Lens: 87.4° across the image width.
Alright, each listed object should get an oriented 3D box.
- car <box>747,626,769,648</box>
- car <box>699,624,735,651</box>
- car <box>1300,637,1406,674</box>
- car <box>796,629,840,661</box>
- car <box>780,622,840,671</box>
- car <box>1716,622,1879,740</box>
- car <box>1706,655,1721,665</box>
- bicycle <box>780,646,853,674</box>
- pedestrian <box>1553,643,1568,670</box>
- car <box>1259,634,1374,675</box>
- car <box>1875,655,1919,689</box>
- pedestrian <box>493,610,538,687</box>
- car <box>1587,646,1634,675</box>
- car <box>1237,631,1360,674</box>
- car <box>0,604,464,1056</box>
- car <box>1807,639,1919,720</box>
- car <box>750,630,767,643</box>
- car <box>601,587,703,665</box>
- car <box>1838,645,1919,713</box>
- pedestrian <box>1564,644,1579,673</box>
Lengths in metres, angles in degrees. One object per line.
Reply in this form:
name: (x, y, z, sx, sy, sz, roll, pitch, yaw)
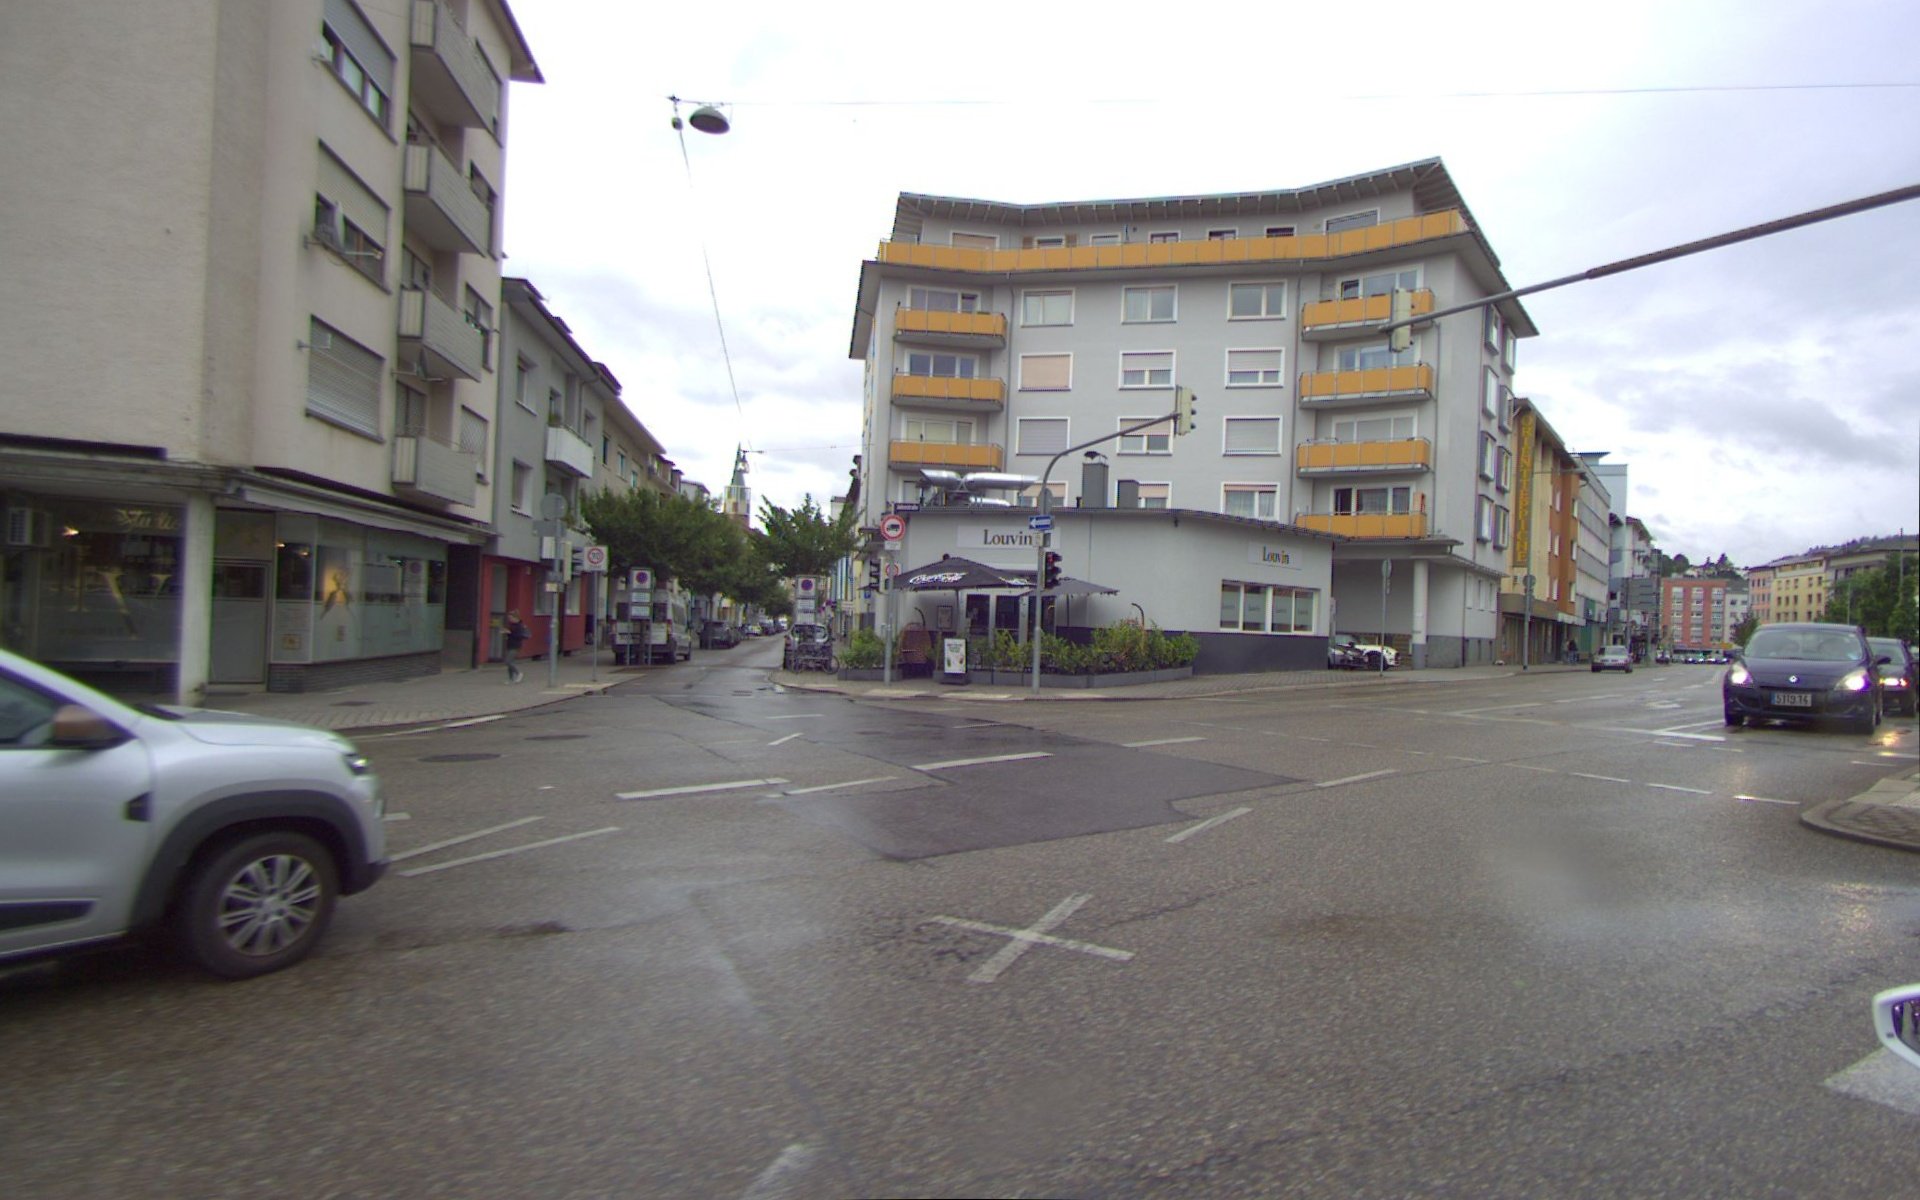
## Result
car: (-19.837, 3.602, 98.601, 1.965, 1.884, 3.992, 4, 0, -11)
car: (-14.132, 2.176, 58.673, 1.869, 1.457, 3.991, 1, -1, -12)
car: (15.223, 2.158, 39.013, 3.576, 1.355, 1.490, -2, -4, 36)
car: (-6.901, 2.152, 49.071, 1.866, 1.457, 3.997, 1, -1, -5)
car: (-5.376, 1.648, 36.371, 1.866, 1.630, 3.997, 1, -1, -5)
car: (13.521, 1.208, 16.132, 1.737, 1.636, 4.186, -1, -2, 44)
car: (113.893, 9.081, 151.822, 1.687, 1.487, 4.810, -2, -4, 38)
bicycle: (-4.444, 1.851, 31.030, 2.173, 0.819, 0.618, 2, -1, -13)
pedestrian: (39.063, 3.689, 65.359, 0.622, 1.697, 0.905, 6, 1, 37)
car: (13.272, 2.032, 37.440, 3.711, 1.439, 1.631, -2, -4, 39)
car: (42.433, 3.195, 44.762, 1.765, 1.421, 4.620, 1, -2, 34)
pedestrian: (-9.905, 1.079, 22.393, 0.518, 1.672, 0.602, 4, -1, 28)
car: (35.057, 3.284, 54.063, 1.707, 1.384, 4.094, 1, -3, 39)
car: (11.907, 1.872, 35.444, 3.766, 1.439, 1.790, -2, -5, 39)
car: (-3.936, 0.754, 3.551, 1.516, 1.481, 3.618, 1, -1, 35)
car: (17.899, 1.494, 19.820, 1.540, 1.416, 3.704, -2, -3, 44)
car: (-22.850, 4.138, 113.858, 1.869, 1.457, 3.991, 1, -1, -12)
car: (-10.819, 0.924, 35.774, 2.361, 2.542, 5.254, 1, -2, -5)
car: (22.514, 1.875, 24.406, 1.624, 1.472, 3.972, 1, -2, 40)
pedestrian: (39.493, 3.770, 64.902, 0.568, 1.812, 0.823, 6, 1, 38)
